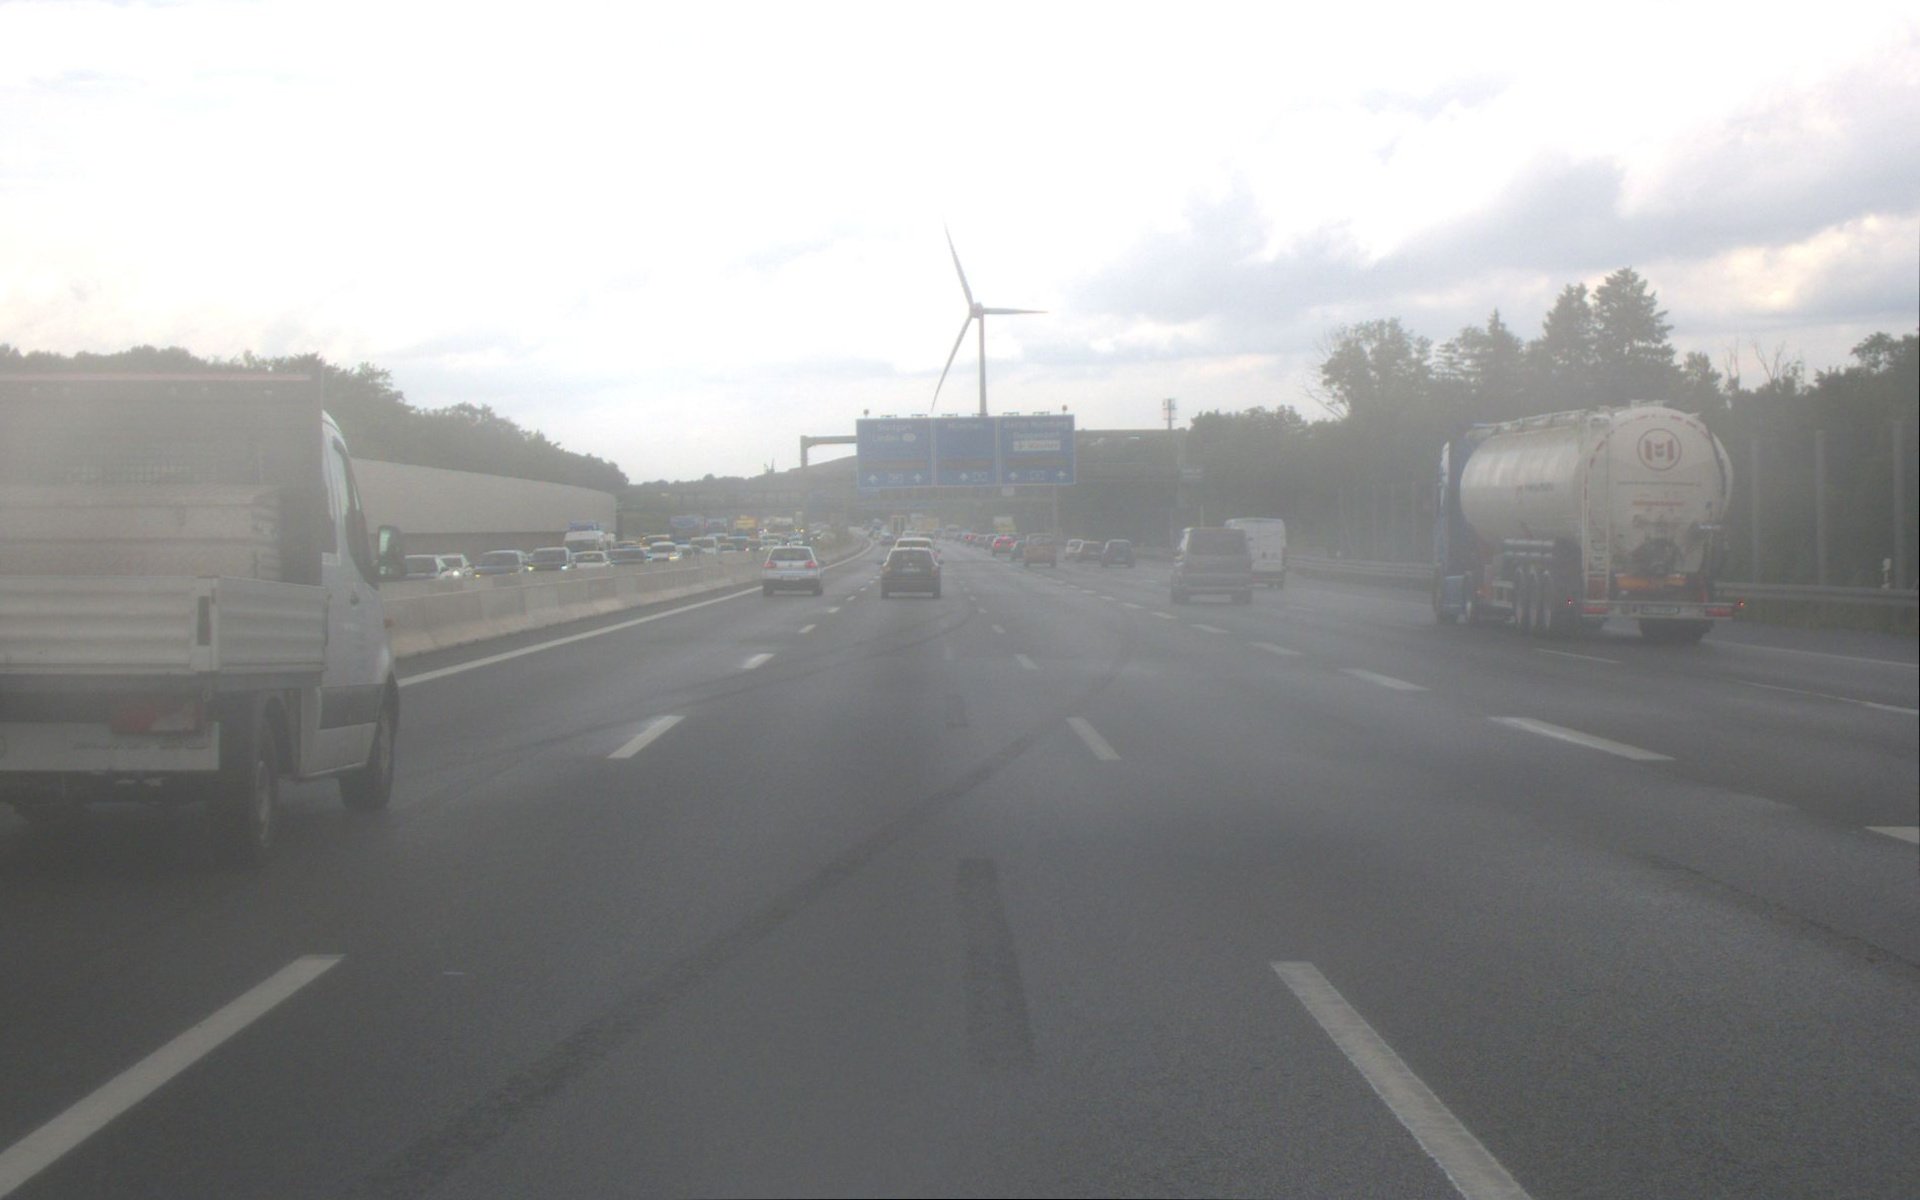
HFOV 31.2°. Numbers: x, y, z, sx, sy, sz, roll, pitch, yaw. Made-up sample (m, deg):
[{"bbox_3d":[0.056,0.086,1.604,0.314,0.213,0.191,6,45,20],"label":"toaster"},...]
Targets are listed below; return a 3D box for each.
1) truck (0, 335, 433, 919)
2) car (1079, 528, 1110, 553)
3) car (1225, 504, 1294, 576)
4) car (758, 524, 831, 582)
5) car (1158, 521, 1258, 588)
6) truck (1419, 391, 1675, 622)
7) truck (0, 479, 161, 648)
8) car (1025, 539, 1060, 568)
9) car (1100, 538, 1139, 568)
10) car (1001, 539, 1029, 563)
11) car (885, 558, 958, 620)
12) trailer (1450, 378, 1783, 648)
[{"bbox_3d":[-4.354,0.004,17.823,2.353,2.400,7.359,1,2,-2],"label":"truck"},{"bbox_3d":[9.322,-4.159,239.077,2.045,1.693,4.000,0,2,0],"label":"car"},{"bbox_3d":[10.582,-2.152,121.864,2.045,2.489,4.000,0,2,-1],"label":"car"},{"bbox_3d":[-4.981,-1.449,103.899,2.045,1.693,4.000,0,2,-1],"label":"car"},{"bbox_3d":[6.477,-1.211,90.144,2.097,1.693,4.001,0,2,-4],"label":"car"},{"bbox_3d":[10.957,-1.750,65.115,3.333,4.066,8.272,0,1,0],"label":"truck"},{"bbox_3d":[-19.469,-0.829,75.457,2.184,3.507,7.491,0,1,0],"label":"truck"},{"bbox_3d":[4.943,-2.798,206.634,2.045,1.693,4.000,0,2,0],"label":"car"},{"bbox_3d":[9.449,-2.793,203.906,1.993,1.744,4.497,0,1,-1],"label":"car"},{"bbox_3d":[3.996,-3.586,249.530,1.868,1.722,4.000,0,1,-1],"label":"car"},{"bbox_3d":[-1.108,-0.332,100.003,2.045,1.693,4.000,0,2,1],"label":"car"},{"bbox_3d":[11.019,-1.485,59.189,3.332,4.161,11.839,0,1,0],"label":"trailer"}]
